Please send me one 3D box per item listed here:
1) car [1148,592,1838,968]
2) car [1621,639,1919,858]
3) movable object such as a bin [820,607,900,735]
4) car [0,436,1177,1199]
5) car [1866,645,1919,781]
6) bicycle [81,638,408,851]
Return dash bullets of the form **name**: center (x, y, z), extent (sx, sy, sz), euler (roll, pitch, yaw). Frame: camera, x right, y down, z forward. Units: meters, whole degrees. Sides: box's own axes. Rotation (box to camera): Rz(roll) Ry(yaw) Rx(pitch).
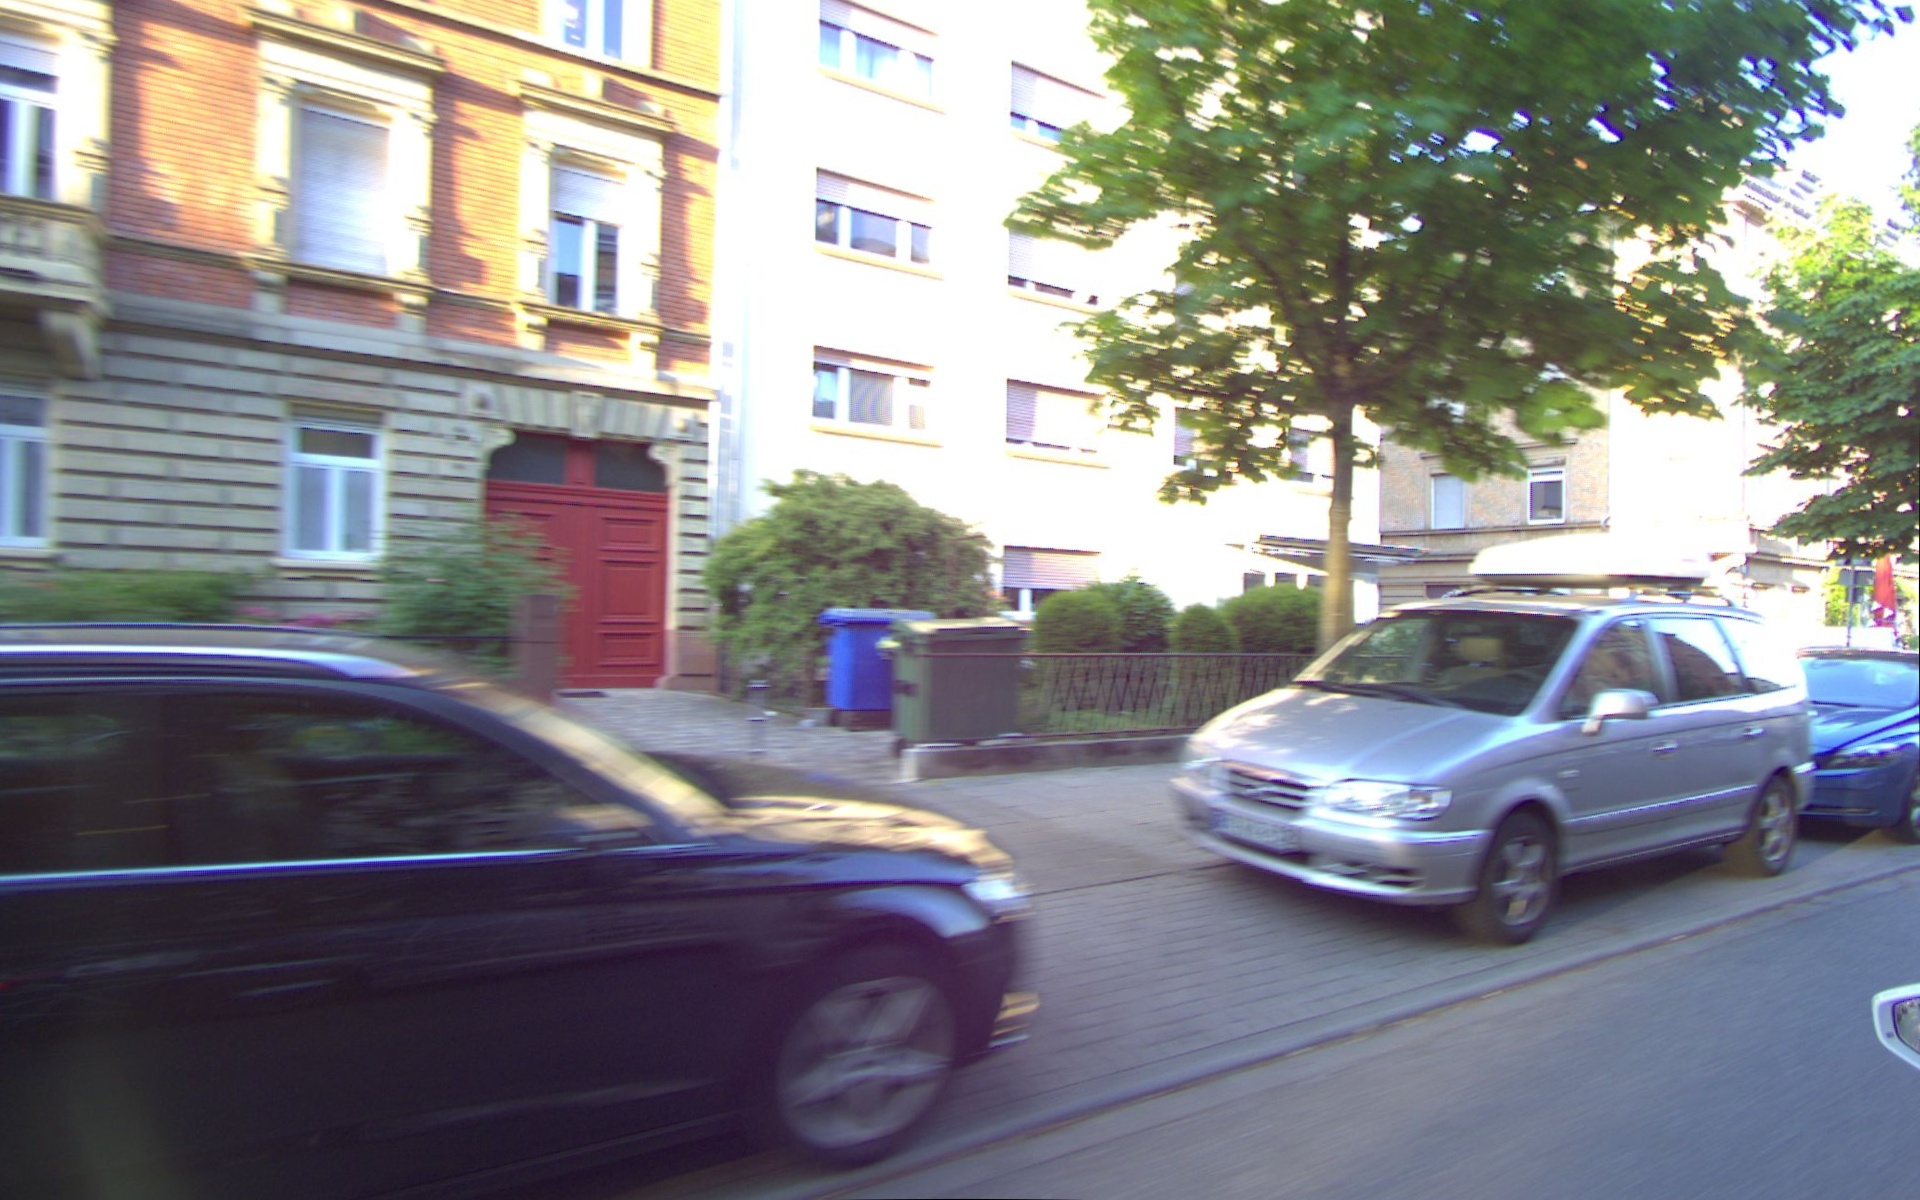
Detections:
- **car**: center (3.441, 0.841, 6.214), extent (4.466, 1.617, 1.707), euler (2, -1, -31)
- **car**: center (7.703, 1.104, 8.751), extent (3.940, 1.484, 1.707), euler (1, -1, -31)
- **movable object such as a bin**: center (-1.151, 0.794, 11.482), extent (0.695, 1.381, 0.733), euler (1, 1, -24)
- **car**: center (-1.536, 0.642, 2.836), extent (4.166, 1.814, 1.707), euler (1, -1, -31)
- **car**: center (12.135, 1.261, 11.418), extent (3.587, 1.460, 1.708), euler (1, -1, -30)
- **bicycle**: center (-4.390, 0.848, 6.296), extent (1.599, 1.201, 0.432), euler (2, -1, -30)
